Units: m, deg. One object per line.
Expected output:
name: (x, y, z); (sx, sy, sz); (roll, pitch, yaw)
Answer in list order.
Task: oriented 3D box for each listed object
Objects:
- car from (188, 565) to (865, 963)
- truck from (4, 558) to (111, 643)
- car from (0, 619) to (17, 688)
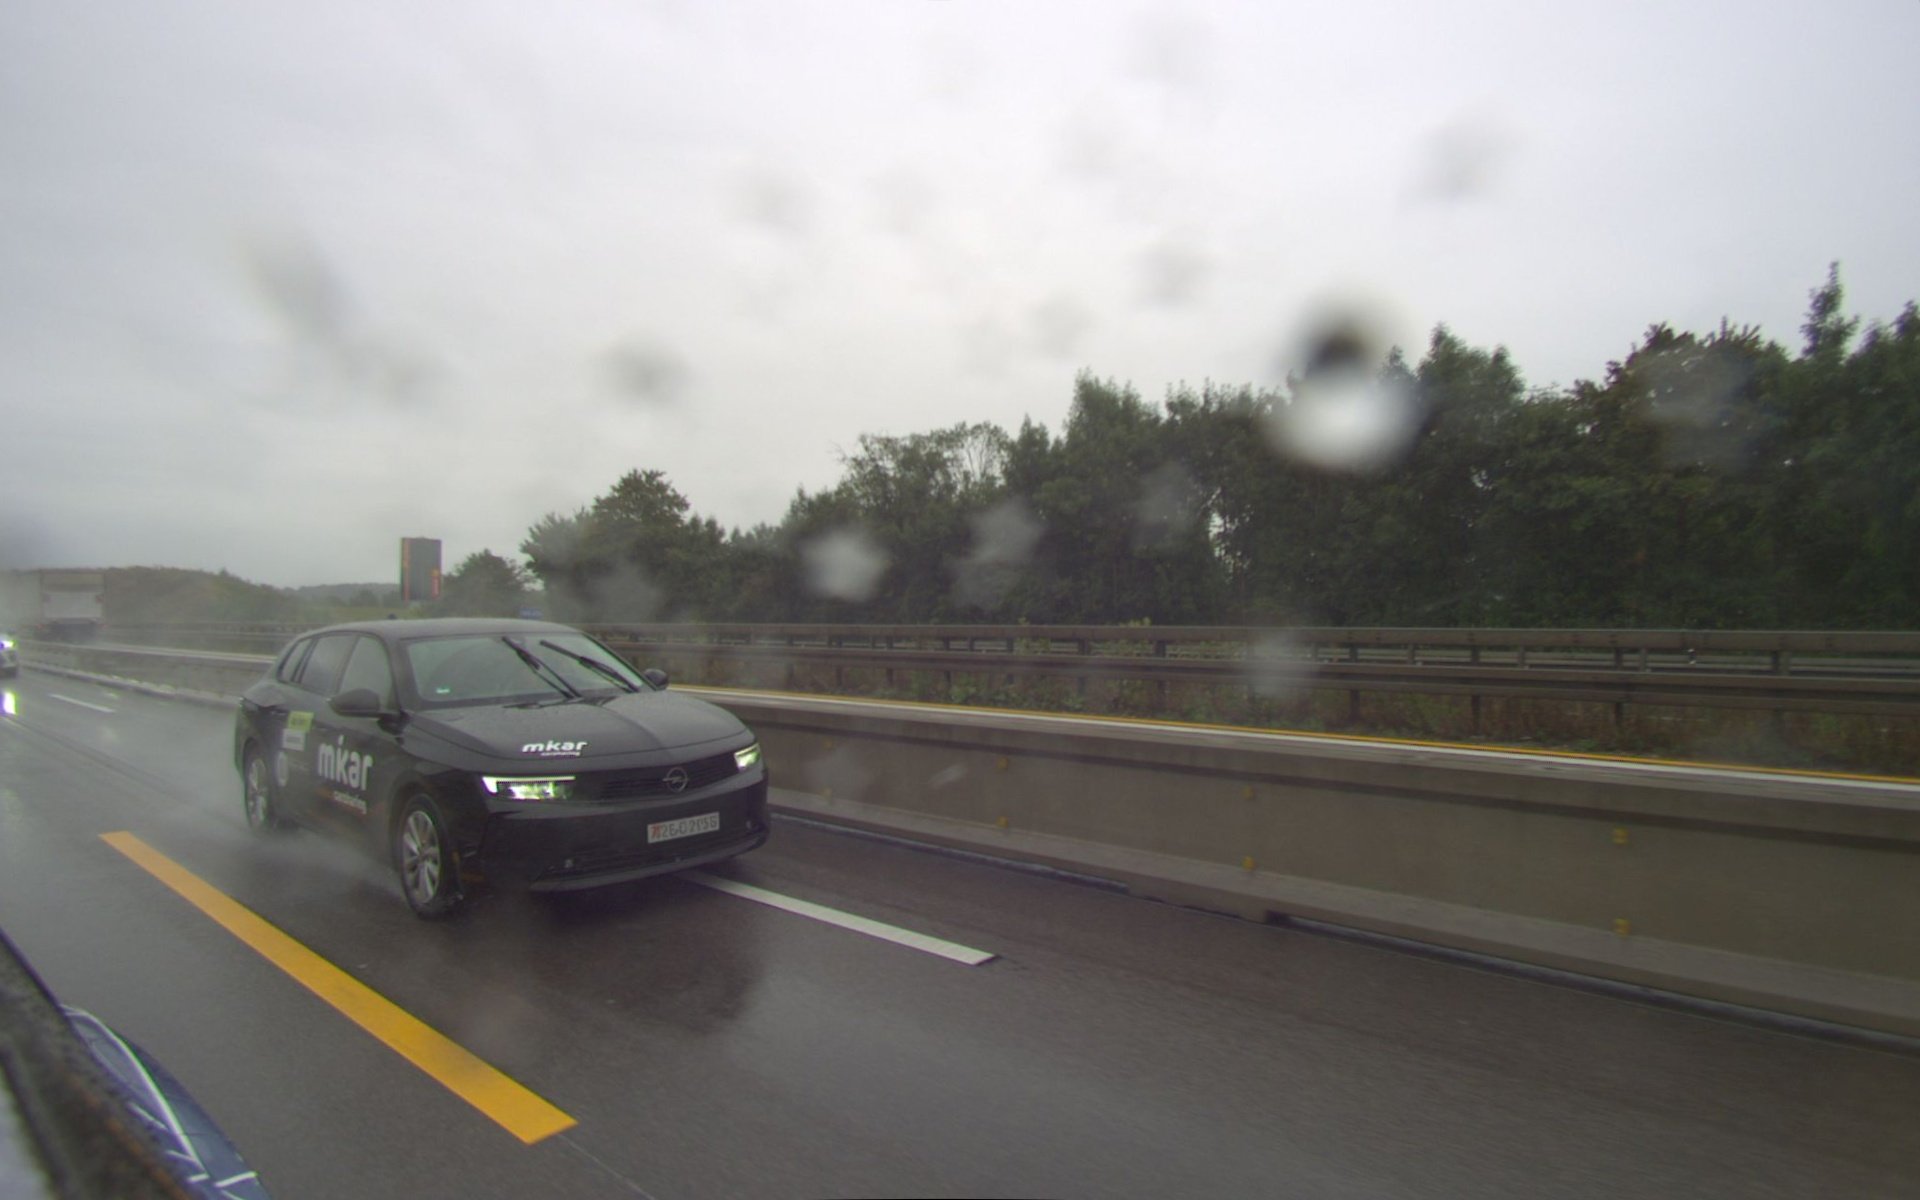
car: (-2.940, 0.686, 6.227); (4.792, 1.539, 1.919); (-1, -2, 41)
truck: (-48.806, 0.037, 54.613); (9.826, 4.198, 2.974); (0, -1, 41)
car: (-26.186, 1.373, 26.279); (3.995, 1.693, 1.947); (0, 0, 39)
